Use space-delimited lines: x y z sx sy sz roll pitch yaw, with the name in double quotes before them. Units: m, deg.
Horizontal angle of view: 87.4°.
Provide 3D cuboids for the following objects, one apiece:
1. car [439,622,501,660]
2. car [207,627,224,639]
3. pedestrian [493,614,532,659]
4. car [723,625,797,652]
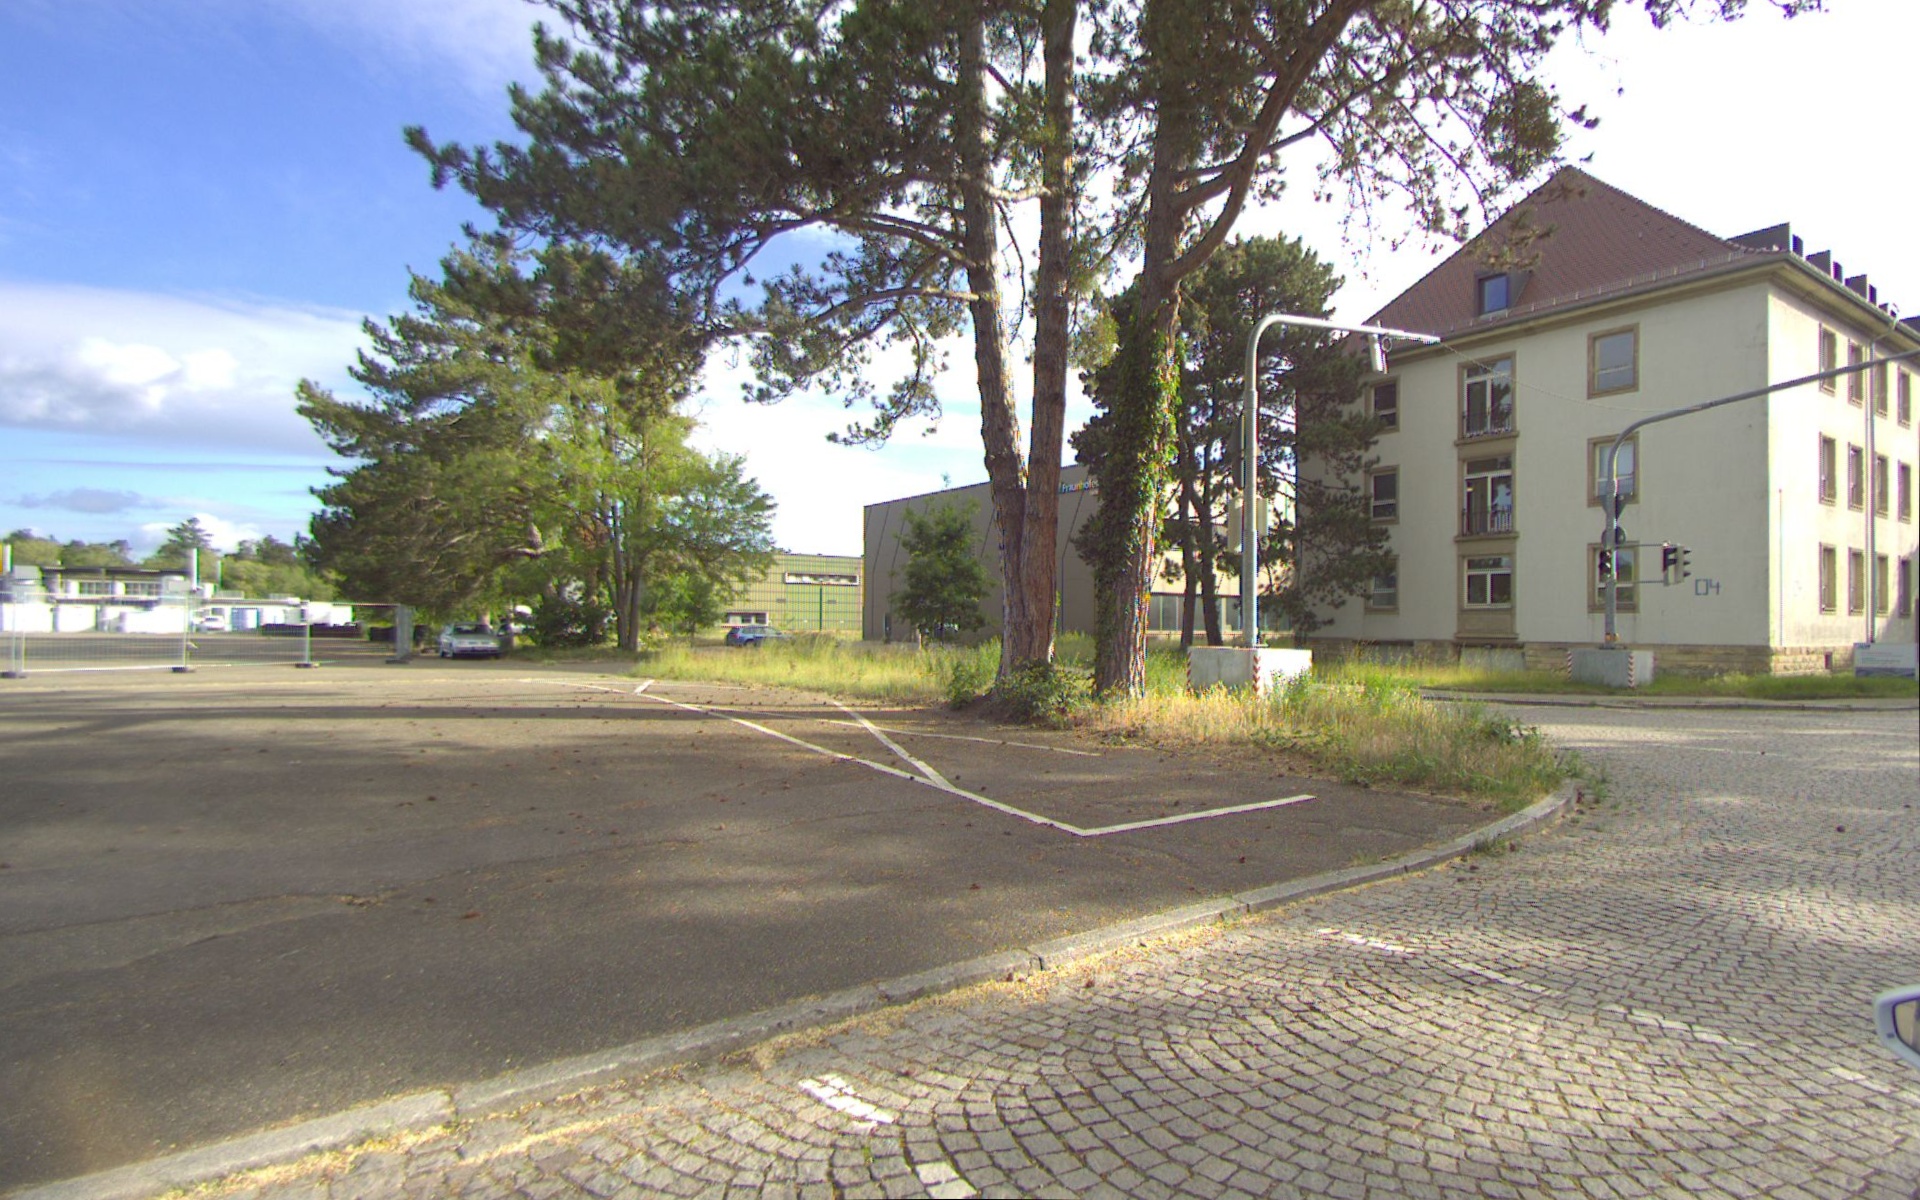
"car" -19.156 1.570 39.183 1.648 1.400 3.963 2 -2 -33
"car" -108.699 4.793 146.689 1.840 1.694 4.154 2 -2 -38
"pedestrian" -17.849 1.449 40.087 0.862 1.767 1.095 1 -1 25
"car" -12.279 2.393 61.712 4.119 1.580 1.790 2 -2 -38
